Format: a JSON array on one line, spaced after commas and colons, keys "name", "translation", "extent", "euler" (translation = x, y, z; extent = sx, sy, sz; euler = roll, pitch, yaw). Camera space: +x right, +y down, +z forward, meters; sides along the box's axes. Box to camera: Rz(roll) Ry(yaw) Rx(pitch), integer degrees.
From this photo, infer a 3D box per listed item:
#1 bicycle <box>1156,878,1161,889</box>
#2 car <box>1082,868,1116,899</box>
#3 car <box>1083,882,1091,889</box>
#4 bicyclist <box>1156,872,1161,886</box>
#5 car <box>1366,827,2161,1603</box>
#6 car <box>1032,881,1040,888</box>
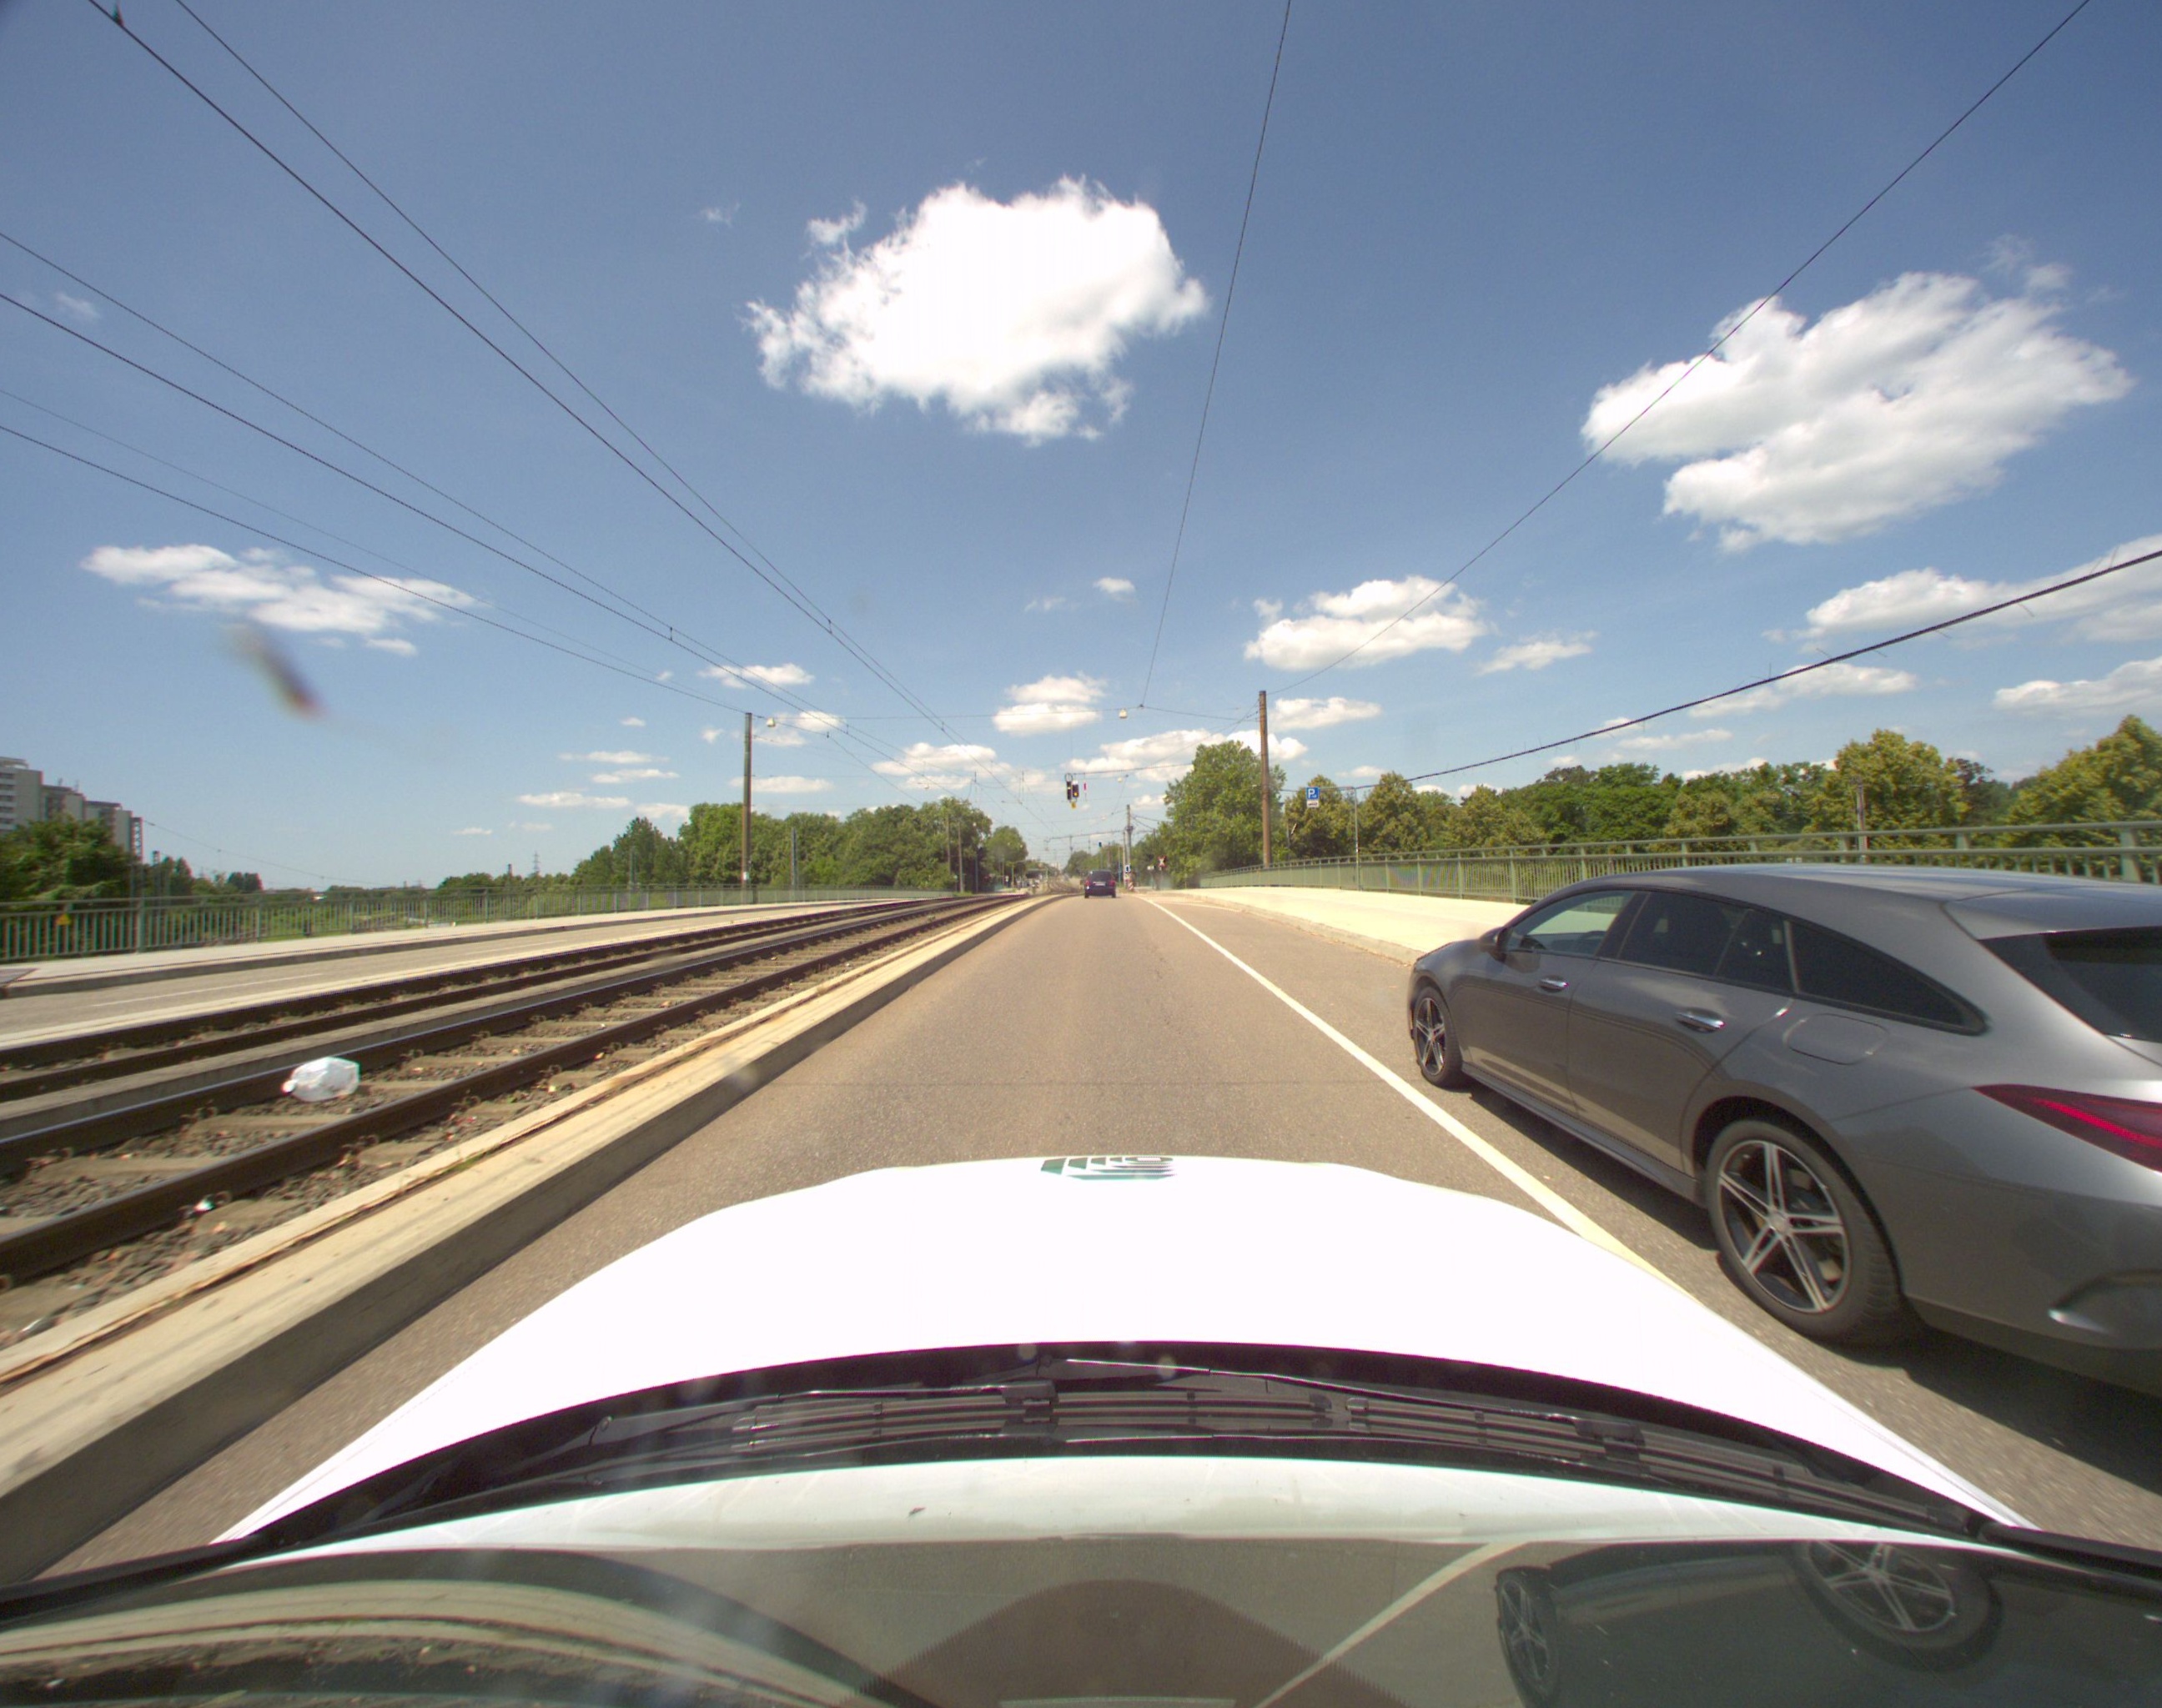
[{"name": "bicycle", "translation": [8.303, 3.145, 87.125], "extent": [0.430, 1.152, 1.856], "euler": [-1, 0, 3]}, {"name": "car", "translation": [1.025, 1.639, 46.442], "extent": [1.846, 1.570, 4.389], "euler": [-1, 0, 1]}, {"name": "car", "translation": [1.455, 7.496, 194.680], "extent": [1.877, 1.640, 4.002], "euler": [2, -1, 2]}, {"name": "bicyclist", "translation": [8.300, 2.671, 87.202], "extent": [0.583, 1.495, 0.558], "euler": [-1, -1, 2]}, {"name": "car", "translation": [3.167, 0.696, 3.882], "extent": [1.987, 1.552, 4.721], "euler": [-1, 0, 0]}, {"name": "car", "translation": [-10.865, 7.348, 196.737], "extent": [1.698, 1.510, 3.734], "euler": [-3, -2, 2]}]
